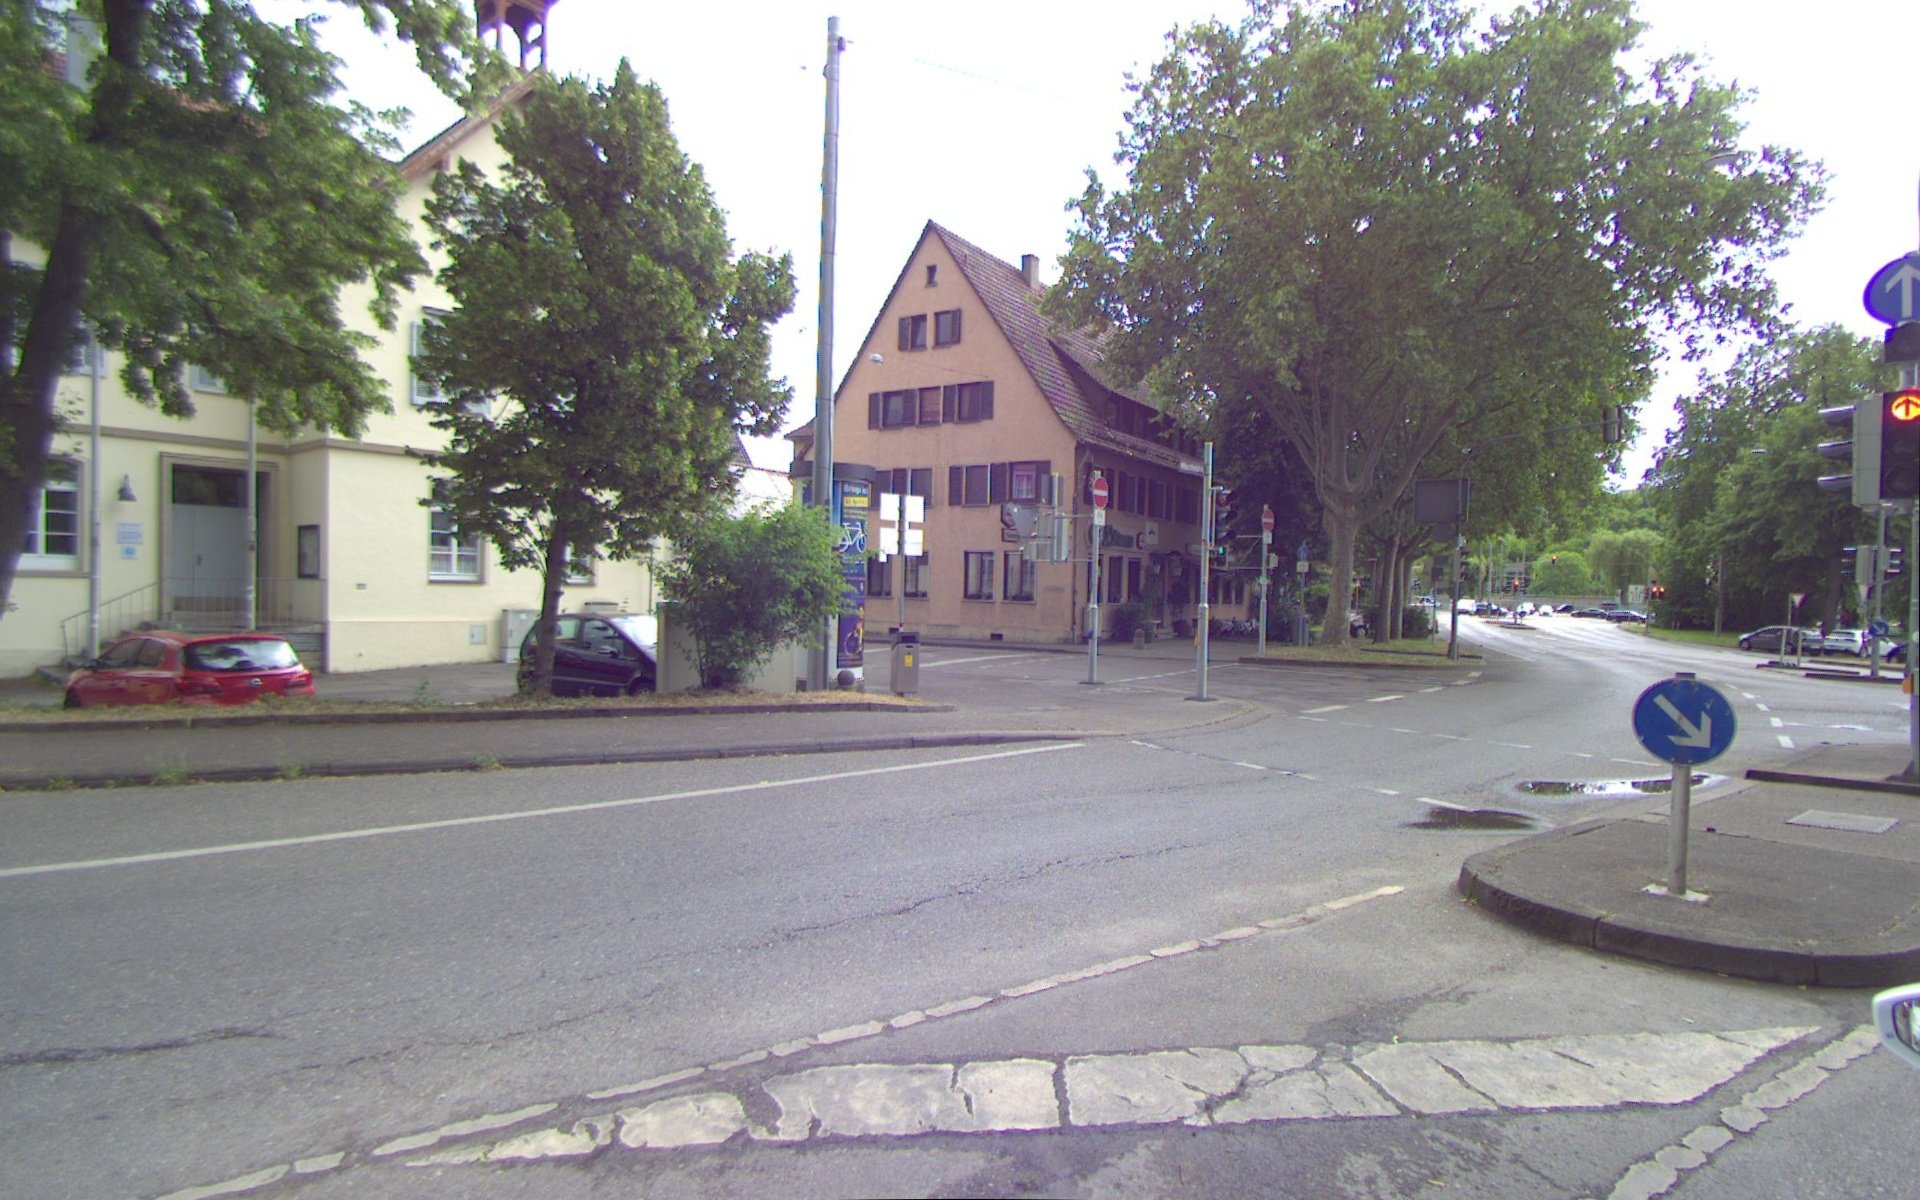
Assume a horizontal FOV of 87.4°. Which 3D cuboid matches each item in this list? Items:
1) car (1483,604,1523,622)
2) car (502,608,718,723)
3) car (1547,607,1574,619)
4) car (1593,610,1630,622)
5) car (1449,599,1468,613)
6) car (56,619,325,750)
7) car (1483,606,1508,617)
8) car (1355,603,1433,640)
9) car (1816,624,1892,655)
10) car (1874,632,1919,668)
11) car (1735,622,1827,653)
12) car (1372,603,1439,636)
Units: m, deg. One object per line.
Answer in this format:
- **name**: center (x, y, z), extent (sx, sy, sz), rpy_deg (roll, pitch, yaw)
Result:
- **car**: center (67.258, 1.578, 124.502), extent (1.852, 2.040, 3.946), rpy_deg (2, 0, -45)
- **car**: center (-5.760, 1.006, 16.594), extent (3.035, 1.654, 1.607), rpy_deg (2, 0, 22)
- **car**: center (108.232, 2.316, 181.091), extent (3.928, 2.040, 1.996), rpy_deg (2, 0, 30)
- **car**: center (90.658, 2.178, 139.765), extent (3.945, 1.572, 1.857), rpy_deg (2, 0, 45)
- **car**: center (52.030, 0.648, 104.808), extent (1.404, 1.435, 2.872), rpy_deg (1, -1, 19)
- **car**: center (-10.171, 1.013, 13.246), extent (3.492, 1.397, 1.605), rpy_deg (2, 0, 30)
- **car**: center (100.718, 2.127, 188.936), extent (3.928, 2.040, 1.996), rpy_deg (2, 0, 30)
- **car**: center (21.412, 1.047, 49.583), extent (3.387, 1.663, 1.570), rpy_deg (2, 0, 28)
- **car**: center (47.305, 2.080, 53.161), extent (3.342, 1.484, 1.543), rpy_deg (2, 0, -19)
- **car**: center (39.573, 2.076, 40.945), extent (1.442, 1.412, 3.596), rpy_deg (2, 0, 3)
- **car**: center (43.867, 1.967, 53.761), extent (1.559, 1.484, 3.543), rpy_deg (2, 0, -17)
- **car**: center (25.473, 1.086, 57.467), extent (3.387, 1.765, 1.570), rpy_deg (2, 0, 28)
